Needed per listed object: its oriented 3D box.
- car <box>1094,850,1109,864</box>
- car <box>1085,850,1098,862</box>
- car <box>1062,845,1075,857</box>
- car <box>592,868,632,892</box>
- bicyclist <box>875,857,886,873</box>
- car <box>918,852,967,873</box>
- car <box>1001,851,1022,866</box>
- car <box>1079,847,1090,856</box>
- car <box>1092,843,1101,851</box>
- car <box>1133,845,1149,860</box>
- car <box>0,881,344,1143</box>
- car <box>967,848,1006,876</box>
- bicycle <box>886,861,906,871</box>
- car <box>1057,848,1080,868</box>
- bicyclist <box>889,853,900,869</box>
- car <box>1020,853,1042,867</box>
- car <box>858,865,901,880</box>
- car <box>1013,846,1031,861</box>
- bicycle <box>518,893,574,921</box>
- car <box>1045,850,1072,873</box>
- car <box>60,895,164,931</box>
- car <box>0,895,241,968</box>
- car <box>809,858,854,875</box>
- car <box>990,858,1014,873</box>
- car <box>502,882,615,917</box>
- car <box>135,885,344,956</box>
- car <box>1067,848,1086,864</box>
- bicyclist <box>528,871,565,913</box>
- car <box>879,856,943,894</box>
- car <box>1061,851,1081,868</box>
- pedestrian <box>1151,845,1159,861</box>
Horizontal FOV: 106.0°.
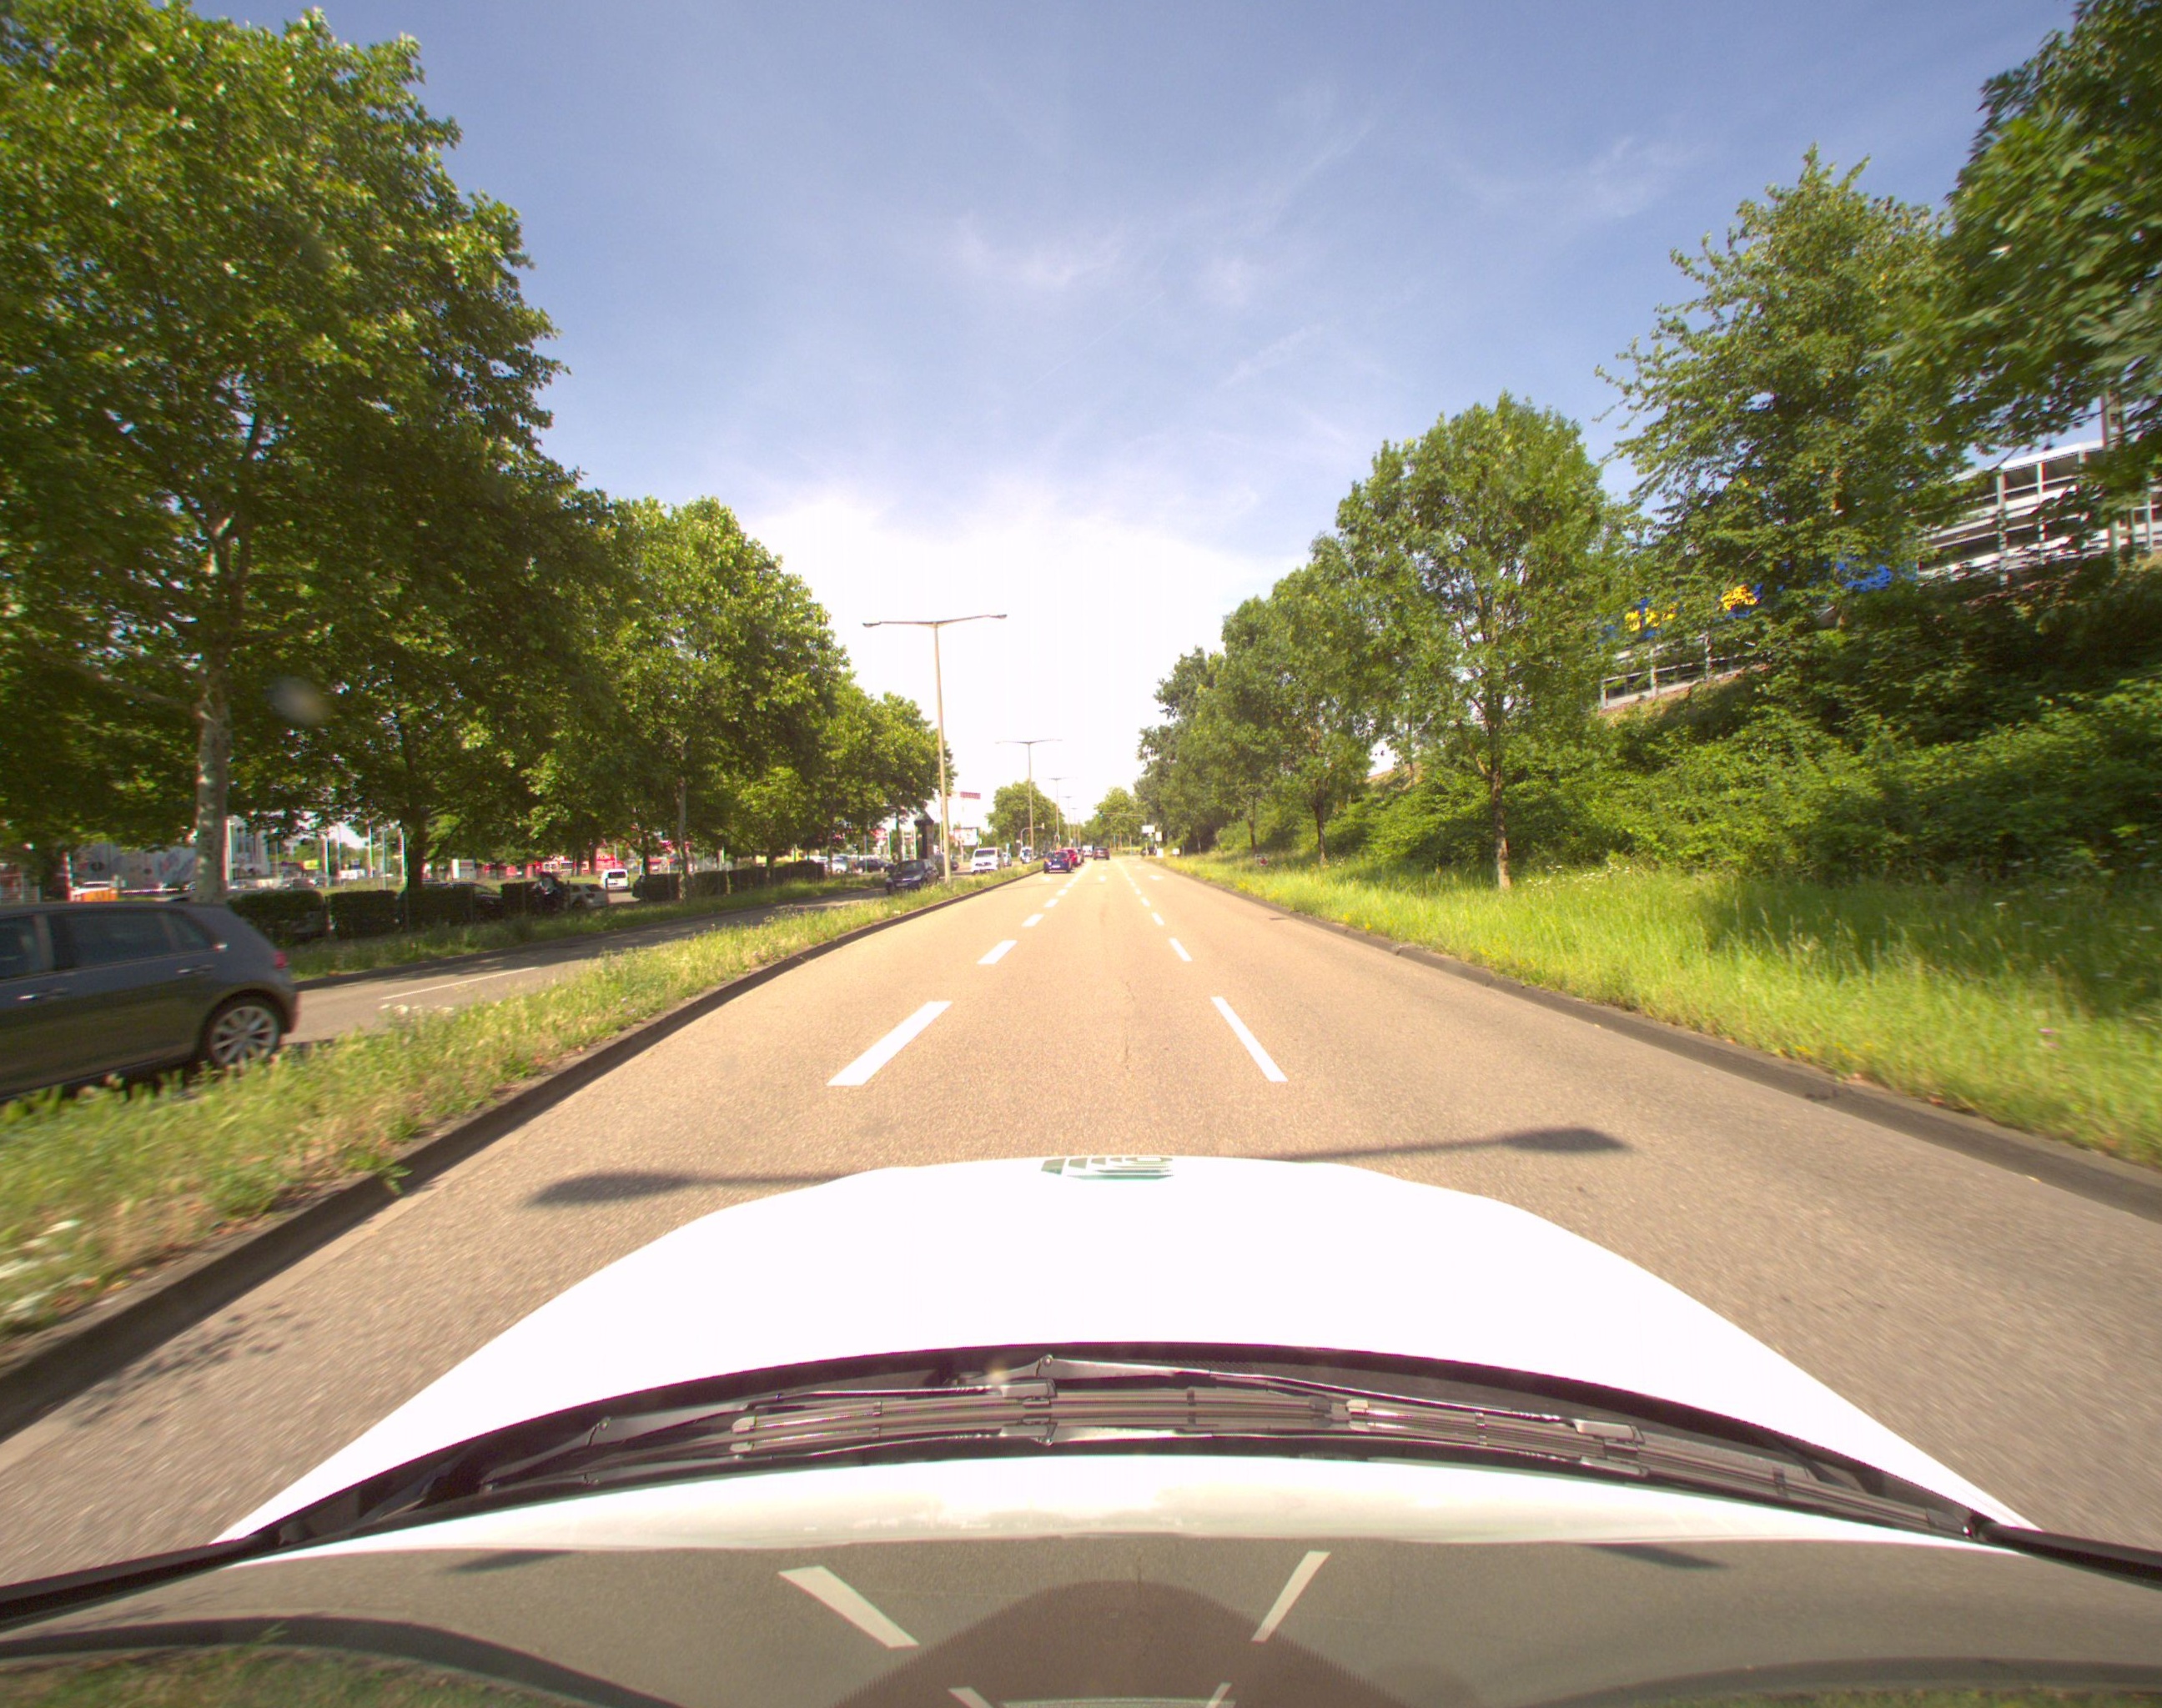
[{"bbox_3d":[2.513,0.359,100.134,1.730,1.535,4.003,-2,3,2],"label":"car"},{"bbox_3d":[1.788,0.329,134.475,1.986,1.744,4.267,-2,0,2],"label":"car"},{"bbox_3d":[-2.098,-0.462,137.901,1.985,1.859,4.003,-2,0,3],"label":"car"},{"bbox_3d":[-36.779,2.034,63.794,2.010,1.665,4.789,-3,0,-38],"label":"car"},{"bbox_3d":[-22.153,1.216,89.832,0.904,1.646,0.780,-3,3,-34],"label":"bicyclist"},{"bbox_3d":[-13.320,0.818,78.243,4.343,1.750,1.881,-3,0,31],"label":"car"},{"bbox_3d":[-8.082,0.526,95.305,1.970,1.693,4.000,-3,0,0],"label":"car"},{"bbox_3d":[0.724,-0.518,155.665,1.986,1.708,4.265,-2,0,2],"label":"car"},{"bbox_3d":[4.064,-1.693,210.778,1.988,2.013,3.997,-2,0,-2],"label":"car"},{"bbox_3d":[8.636,-0.217,117.448,2.010,1.837,4.003,-2,2,2],"label":"car"},{"bbox_3d":[-7.372,1.019,5.045,1.834,1.478,4.163,-3,0,-2],"label":"car"},{"bbox_3d":[-6.897,0.542,59.948,2.110,1.883,5.420,-3,0,1],"label":"car"},{"bbox_3d":[-20.842,1.352,91.765,1.962,0.983,0.781,-3,3,-35],"label":"bicycle"},{"bbox_3d":[-1.029,0.346,69.478,1.776,1.593,4.595,-1,0,1],"label":"car"},{"bbox_3d":[-20.992,0.825,91.648,0.904,1.715,0.774,-3,3,-34],"label":"bicyclist"},{"bbox_3d":[-5.822,0.705,95.557,1.986,1.530,4.684,-3,0,2],"label":"car"},{"bbox_3d":[-20.384,1.882,82.316,3.949,1.388,1.776,-2,1,28],"label":"car"},{"bbox_3d":[-8.421,-0.094,116.111,1.986,2.013,5.215,-3,0,2],"label":"car"},{"bbox_3d":[-19.681,1.934,30.013,0.687,0.866,1.927,-3,0,2],"label":"bicycle"},{"bbox_3d":[-1.483,0.469,54.747,1.620,1.483,4.049,0,0,1],"label":"car"},{"bbox_3d":[-47.789,2.886,40.171,3.955,1.504,1.814,-1,3,17],"label":"car"},{"bbox_3d":[-23.813,1.896,20.275,3.971,1.464,1.773,-3,0,2],"label":"car"},{"bbox_3d":[-25.787,1.280,84.179,4.121,1.603,1.729,-3,0,13],"label":"car"},{"bbox_3d":[-8.061,1.124,83.613,1.780,1.398,4.360,-3,0,2],"label":"car"},{"bbox_3d":[-24.266,2.087,37.921,3.979,1.414,1.802,-2,-1,-4],"label":"car"},{"bbox_3d":[-24.316,1.889,23.633,3.968,1.823,2.159,-1,-1,5],"label":"car"},{"bbox_3d":[-0.473,0.188,88.868,1.874,1.618,4.213,-2,0,1],"label":"car"},{"bbox_3d":[-19.696,1.393,30.016,0.679,1.485,0.942,-3,0,2],"label":"bicyclist"},{"bbox_3d":[-7.484,0.897,36.294,1.761,1.469,4.285,-3,0,2],"label":"car"},{"bbox_3d":[-0.891,0.508,75.713,1.760,1.479,4.137,-1,0,1],"label":"car"},{"bbox_3d":[9.300,-0.139,102.638,0.835,1.932,0.771,-2,2,-2],"label":"pedestrian"}]
